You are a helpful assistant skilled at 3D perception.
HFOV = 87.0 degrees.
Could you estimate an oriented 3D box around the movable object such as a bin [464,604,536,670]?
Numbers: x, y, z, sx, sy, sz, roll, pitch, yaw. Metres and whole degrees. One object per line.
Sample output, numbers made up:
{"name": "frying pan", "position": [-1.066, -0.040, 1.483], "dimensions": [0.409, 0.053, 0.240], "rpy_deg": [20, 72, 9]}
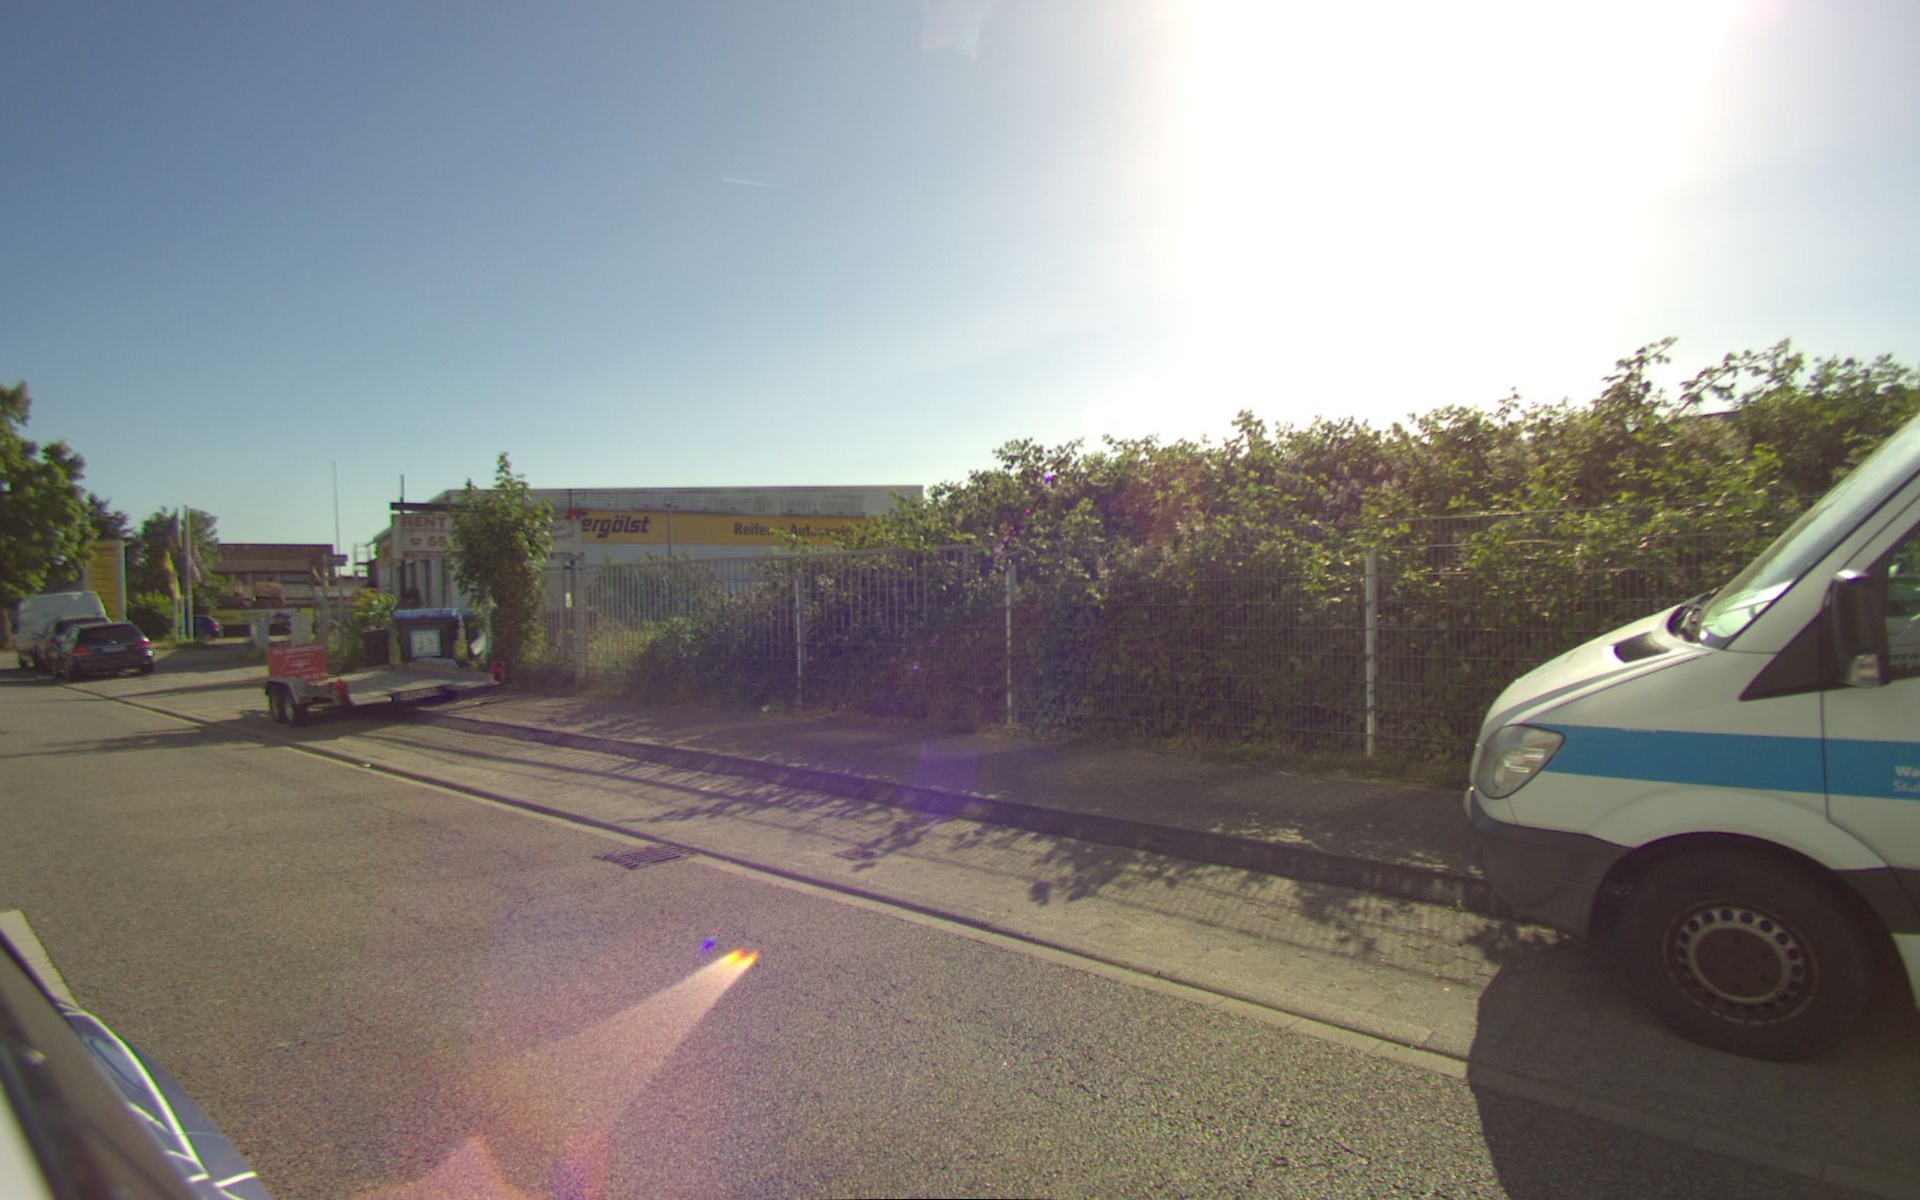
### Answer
{"name": "movable object such as a bin", "position": [-10.739, 0.846, 23.688], "dimensions": [1.441, 1.453, 1.099], "rpy_deg": [-2, 0, -21]}

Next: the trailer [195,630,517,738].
{"name": "trailer", "position": [-9.379, 1.152, 15.398], "dimensions": [6.242, 1.088, 2.352], "rpy_deg": [-2, 3, 41]}

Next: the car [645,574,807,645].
{"name": "car", "position": [-8.613, 0.298, 37.422], "dimensions": [5.365, 2.424, 2.212], "rpy_deg": [-1, 0, -32]}

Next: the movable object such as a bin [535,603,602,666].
{"name": "movable object such as a bin", "position": [-9.333, 0.808, 24.157], "dimensions": [1.441, 1.416, 1.099], "rpy_deg": [-2, 0, -21]}

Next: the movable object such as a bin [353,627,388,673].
{"name": "movable object such as a bin", "position": [-13.489, 1.139, 23.173], "dimensions": [0.606, 0.979, 0.752], "rpy_deg": [-1, 1, -24]}

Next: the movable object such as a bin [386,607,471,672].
{"name": "movable object such as a bin", "position": [-12.269, 0.890, 23.421], "dimensions": [1.596, 1.416, 1.099], "rpy_deg": [-2, 0, -21]}

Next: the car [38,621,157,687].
{"name": "car", "position": [-23.967, 1.439, 28.049], "dimensions": [5.001, 1.521, 1.781], "rpy_deg": [-1, 4, 42]}

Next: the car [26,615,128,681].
{"name": "car", "position": [-27.743, 1.450, 31.752], "dimensions": [4.577, 1.750, 1.972], "rpy_deg": [-2, 3, 45]}

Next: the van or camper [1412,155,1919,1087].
{"name": "van or camper", "position": [4.604, -0.030, 2.509], "dimensions": [5.948, 2.704, 1.945], "rpy_deg": [-2, 5, 43]}

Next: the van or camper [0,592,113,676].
{"name": "van or camper", "position": [-31.812, 1.156, 35.540], "dimensions": [6.401, 2.567, 2.050], "rpy_deg": [-2, 4, 42]}

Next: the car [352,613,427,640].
{"name": "car", "position": [-39.385, 1.785, 69.879], "dimensions": [4.262, 1.667, 2.005], "rpy_deg": [-2, 0, -36]}
